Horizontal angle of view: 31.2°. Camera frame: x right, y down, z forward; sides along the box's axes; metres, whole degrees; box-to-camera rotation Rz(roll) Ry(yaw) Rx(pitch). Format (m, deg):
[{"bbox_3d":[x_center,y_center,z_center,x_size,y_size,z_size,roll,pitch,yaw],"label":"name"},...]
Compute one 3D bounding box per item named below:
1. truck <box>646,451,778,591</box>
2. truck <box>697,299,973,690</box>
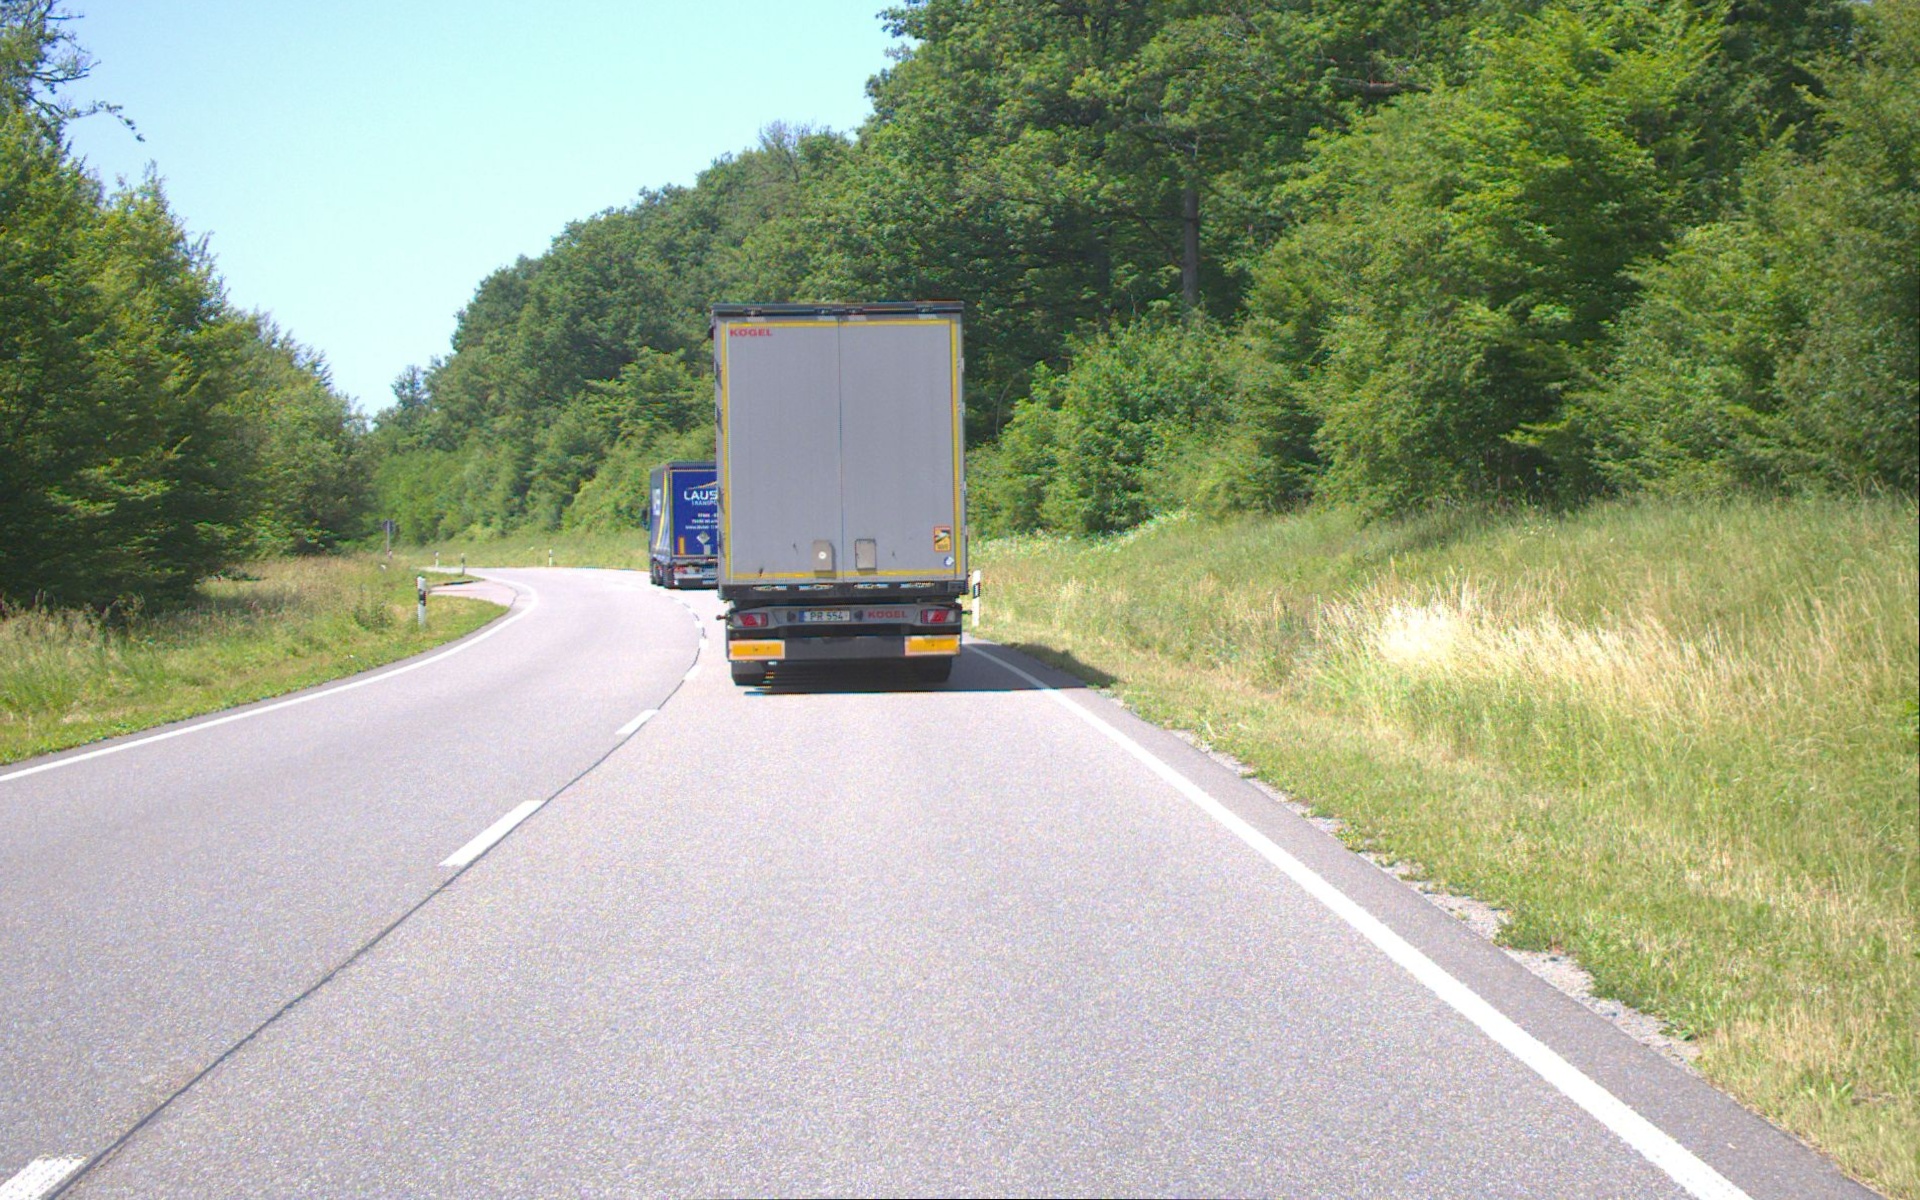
[{"bbox_3d":[-8.412,-2.600,114.708,3.792,4.358,14.923,0,1,-6],"label":"truck"},{"bbox_3d":[-1.427,-1.176,40.848,2.761,3.933,12.199,0,1,-2],"label":"truck"}]
